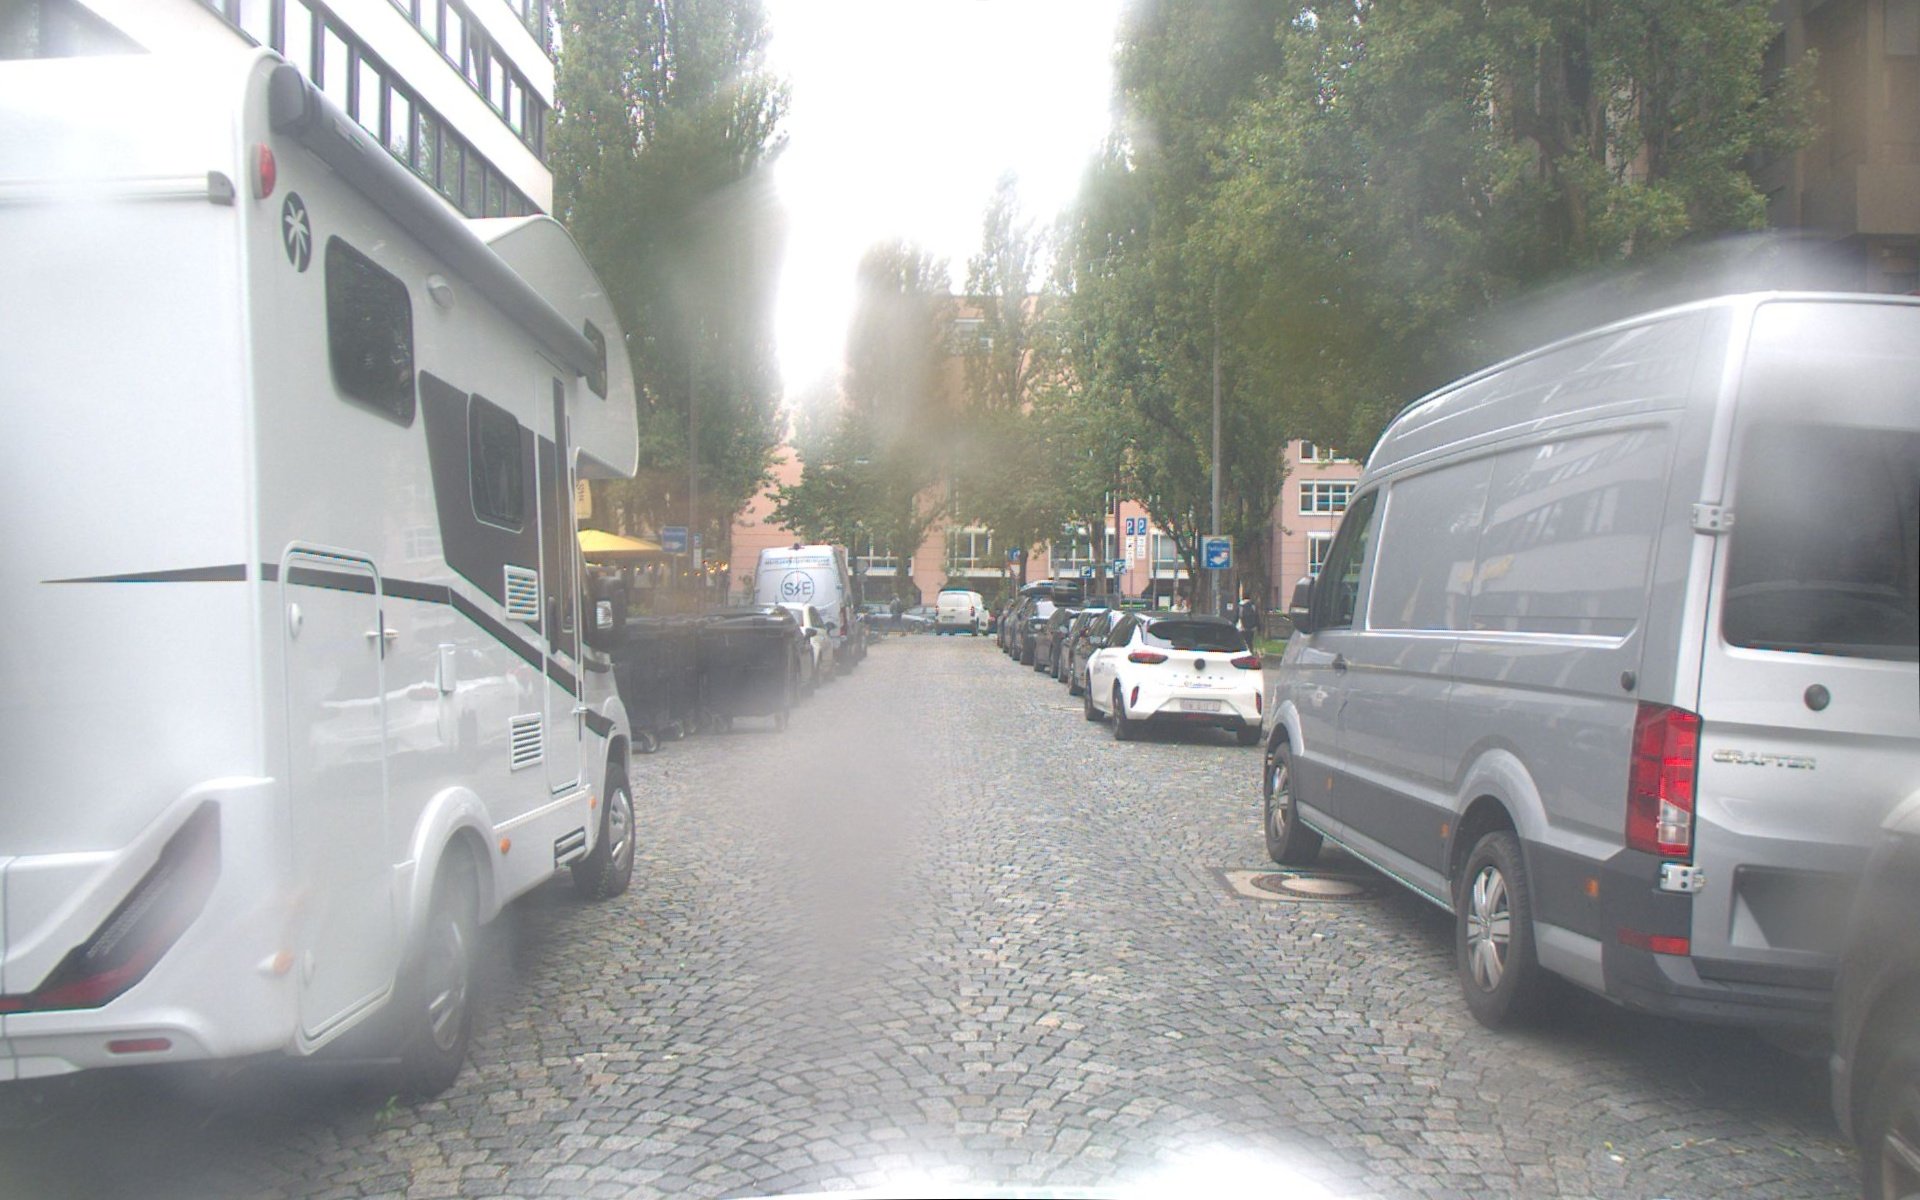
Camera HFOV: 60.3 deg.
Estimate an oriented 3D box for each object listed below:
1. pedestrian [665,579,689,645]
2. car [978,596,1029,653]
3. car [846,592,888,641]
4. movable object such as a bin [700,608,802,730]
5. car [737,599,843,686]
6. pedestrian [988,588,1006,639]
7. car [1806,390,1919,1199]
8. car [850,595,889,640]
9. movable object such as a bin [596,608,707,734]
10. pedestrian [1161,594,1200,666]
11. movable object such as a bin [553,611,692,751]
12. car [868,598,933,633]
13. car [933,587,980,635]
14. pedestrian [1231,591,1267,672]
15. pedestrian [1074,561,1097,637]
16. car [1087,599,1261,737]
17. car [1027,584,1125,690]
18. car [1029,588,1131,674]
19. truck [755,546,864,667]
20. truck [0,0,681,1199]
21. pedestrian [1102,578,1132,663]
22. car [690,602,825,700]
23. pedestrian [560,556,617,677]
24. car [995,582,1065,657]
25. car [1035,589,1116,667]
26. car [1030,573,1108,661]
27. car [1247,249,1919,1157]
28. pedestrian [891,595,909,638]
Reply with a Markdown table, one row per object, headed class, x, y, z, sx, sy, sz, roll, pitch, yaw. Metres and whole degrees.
| class | x | y | z | sx | sy | sz | roll | pitch | yaw |
| --- | --- | --- | --- | --- | --- | --- | --- | --- | --- |
| pedestrian | -8.252 | 0.357 | 48.312 | 0.590 | 1.911 | 0.548 | 1 | -1 | -1 |
| car | 1.349 | 0.760 | 51.971 | 1.441 | 1.735 | 3.118 | 1 | -1 | -1 |
| car | -3.099 | 0.556 | 55.553 | 1.264 | 1.567 | 3.118 | 1 | -1 | -1 |
| movable object such as a bin | -2.459 | 0.798 | 19.649 | 1.042 | 1.387 | 1.289 | 1 | -1 | -1 |
| car | -3.067 | 0.753 | 30.402 | 1.628 | 1.481 | 3.547 | 1 | -1 | -1 |
| pedestrian | 1.437 | 0.530 | 64.255 | 0.710 | 1.944 | 0.641 | 1 | -1 | 1 |
| car | 3.044 | 0.551 | 1.635 | 1.764 | 1.983 | 4.858 | 3 | -1 | -2 |
| car | -3.261 | 0.628 | 59.854 | 1.250 | 1.568 | 3.118 | 1 | -1 | -1 |
| movable object such as a bin | -3.520 | 0.796 | 19.011 | 1.051 | 1.387 | 1.272 | 1 | -1 | -2 |
| pedestrian | 5.456 | 0.743 | 41.023 | 0.776 | 1.750 | 0.854 | 1 | -1 | -6 |
| movable object such as a bin | -3.475 | 0.818 | 17.150 | 1.209 | 1.387 | 1.110 | 1 | -1 | -1 |
| car | -2.802 | 0.741 | 78.551 | 3.045 | 1.617 | 1.475 | 1 | -1 | -1 |
| car | -0.122 | 0.464 | 70.105 | 1.955 | 1.970 | 4.000 | 0 | -1 | 0 |
| pedestrian | 6.661 | 0.732 | 38.148 | 0.697 | 1.836 | 0.813 | 1 | -1 | 1 |
| pedestrian | 4.108 | -0.040 | 54.120 | 0.697 | 2.468 | 0.813 | 1 | -1 | 1 |
| car | 2.499 | 0.768 | 20.026 | 1.567 | 1.512 | 3.478 | 1 | -1 | -2 |
| car | 1.979 | 0.626 | 28.856 | 1.441 | 1.735 | 3.118 | 1 | -1 | -1 |
| car | 2.371 | 0.608 | 33.252 | 1.829 | 1.633 | 3.272 | 0 | -1 | 0 |
| truck | -3.118 | 0.144 | 35.009 | 1.953 | 2.388 | 4.067 | 1 | -1 | -1 |
| truck | -2.705 | -0.044 | 5.911 | 2.458 | 3.084 | 6.382 | -2 | 0 | -2 |
| pedestrian | 4.180 | 0.549 | 44.112 | 0.697 | 2.230 | 0.813 | 1 | -1 | 1 |
| car | -2.987 | 0.736 | 25.001 | 1.628 | 1.352 | 3.547 | 1 | -1 | -1 |
| pedestrian | -6.376 | 0.280 | 28.420 | 0.775 | 2.049 | 0.855 | 1 | -1 | -1 |
| car | 1.914 | 0.545 | 46.425 | 1.829 | 1.995 | 4.000 | 0 | -1 | 0 |
| car | 2.548 | 0.616 | 37.064 | 1.601 | 1.633 | 3.272 | 1 | -1 | 0 |
| car | 2.662 | 0.417 | 41.212 | 1.707 | 2.067 | 3.865 | 0 | -1 | 0 |
| car | 2.850 | 0.309 | 7.408 | 1.857 | 2.468 | 5.609 | 4 | 0 | -2 |
| pedestrian | -2.393 | 0.657 | 65.797 | 0.673 | 1.716 | 0.500 | 1 | -1 | 2 |
